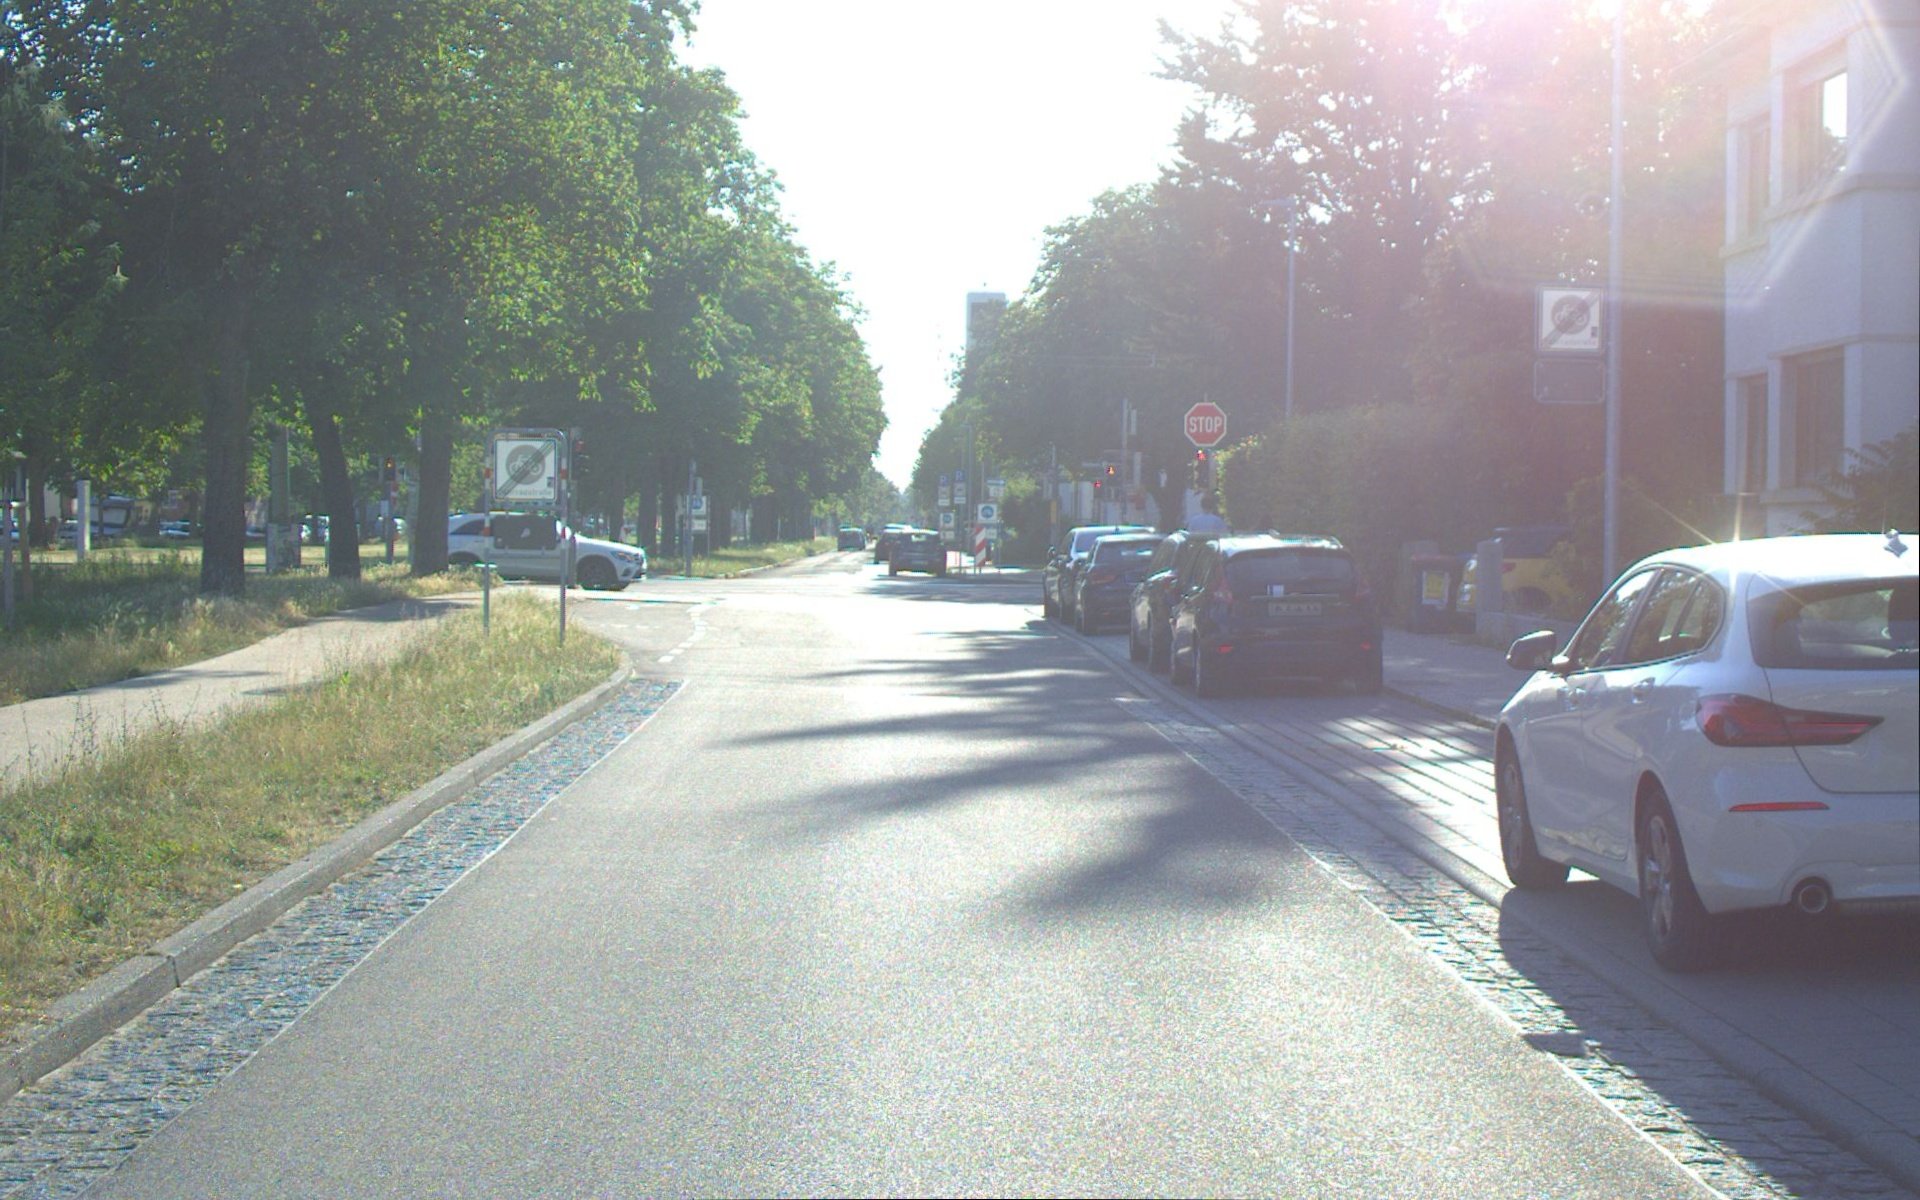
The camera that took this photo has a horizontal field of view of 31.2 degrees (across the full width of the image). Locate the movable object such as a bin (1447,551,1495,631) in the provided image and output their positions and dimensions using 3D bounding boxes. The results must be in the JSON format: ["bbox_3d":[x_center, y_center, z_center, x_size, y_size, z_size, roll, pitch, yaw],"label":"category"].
[{"bbox_3d":[6.776,-0.116,45.631,0.507,1.039,0.417,2,1,-6],"label":"movable object such as a bin"}]

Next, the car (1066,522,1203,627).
[{"bbox_3d":[2.430,-0.382,48.625,1.641,1.423,3.937,0,1,-1],"label":"car"}]

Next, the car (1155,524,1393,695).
[{"bbox_3d":[2.873,0.045,32.174,1.718,1.466,3.984,-1,1,-2],"label":"car"}]

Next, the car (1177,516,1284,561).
[{"bbox_3d":[9.985,-2.284,127.015,3.779,1.520,1.744,2,2,-1],"label":"car"}]

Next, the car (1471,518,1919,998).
[{"bbox_3d":[3.207,0.451,13.044,1.782,1.502,4.234,-1,1,-2],"label":"car"}]

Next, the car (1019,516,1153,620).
[{"bbox_3d":[1.959,-0.527,54.634,1.859,1.537,4.873,1,1,-1],"label":"car"}]

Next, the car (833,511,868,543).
[{"bbox_3d":[-7.288,-4.872,229.134,2.134,2.007,3.902,2,1,0],"label":"car"}]

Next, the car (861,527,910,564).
[{"bbox_3d":[-3.017,-2.229,139.784,1.845,1.389,3.829,2,1,0],"label":"car"}]

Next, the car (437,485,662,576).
[{"bbox_3d":[-8.728,-1.472,73.349,4.411,1.671,1.897,3,1,3],"label":"car"}]

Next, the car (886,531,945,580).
[{"bbox_3d":[-1.357,-1.387,105.702,1.641,1.446,3.307,2,1,1],"label":"car"}]

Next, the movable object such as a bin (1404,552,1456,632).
[{"bbox_3d":[6.224,-0.113,45.576,0.507,1.039,0.659,2,1,-6],"label":"movable object such as a bin"}]

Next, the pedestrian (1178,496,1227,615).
[{"bbox_3d":[3.853,-0.714,54.677,0.670,1.859,0.882,1,1,-1],"label":"pedestrian"}]

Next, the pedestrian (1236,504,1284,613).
[{"bbox_3d":[4.769,-0.657,54.636,0.669,1.702,0.623,1,1,-1],"label":"pedestrian"}]

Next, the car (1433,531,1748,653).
[{"bbox_3d":[7.935,-0.115,43.477,3.633,1.491,1.781,0,1,-1],"label":"car"}]

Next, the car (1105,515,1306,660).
[{"bbox_3d":[2.629,-0.179,37.718,1.746,1.469,4.256,1,1,-2],"label":"car"}]
